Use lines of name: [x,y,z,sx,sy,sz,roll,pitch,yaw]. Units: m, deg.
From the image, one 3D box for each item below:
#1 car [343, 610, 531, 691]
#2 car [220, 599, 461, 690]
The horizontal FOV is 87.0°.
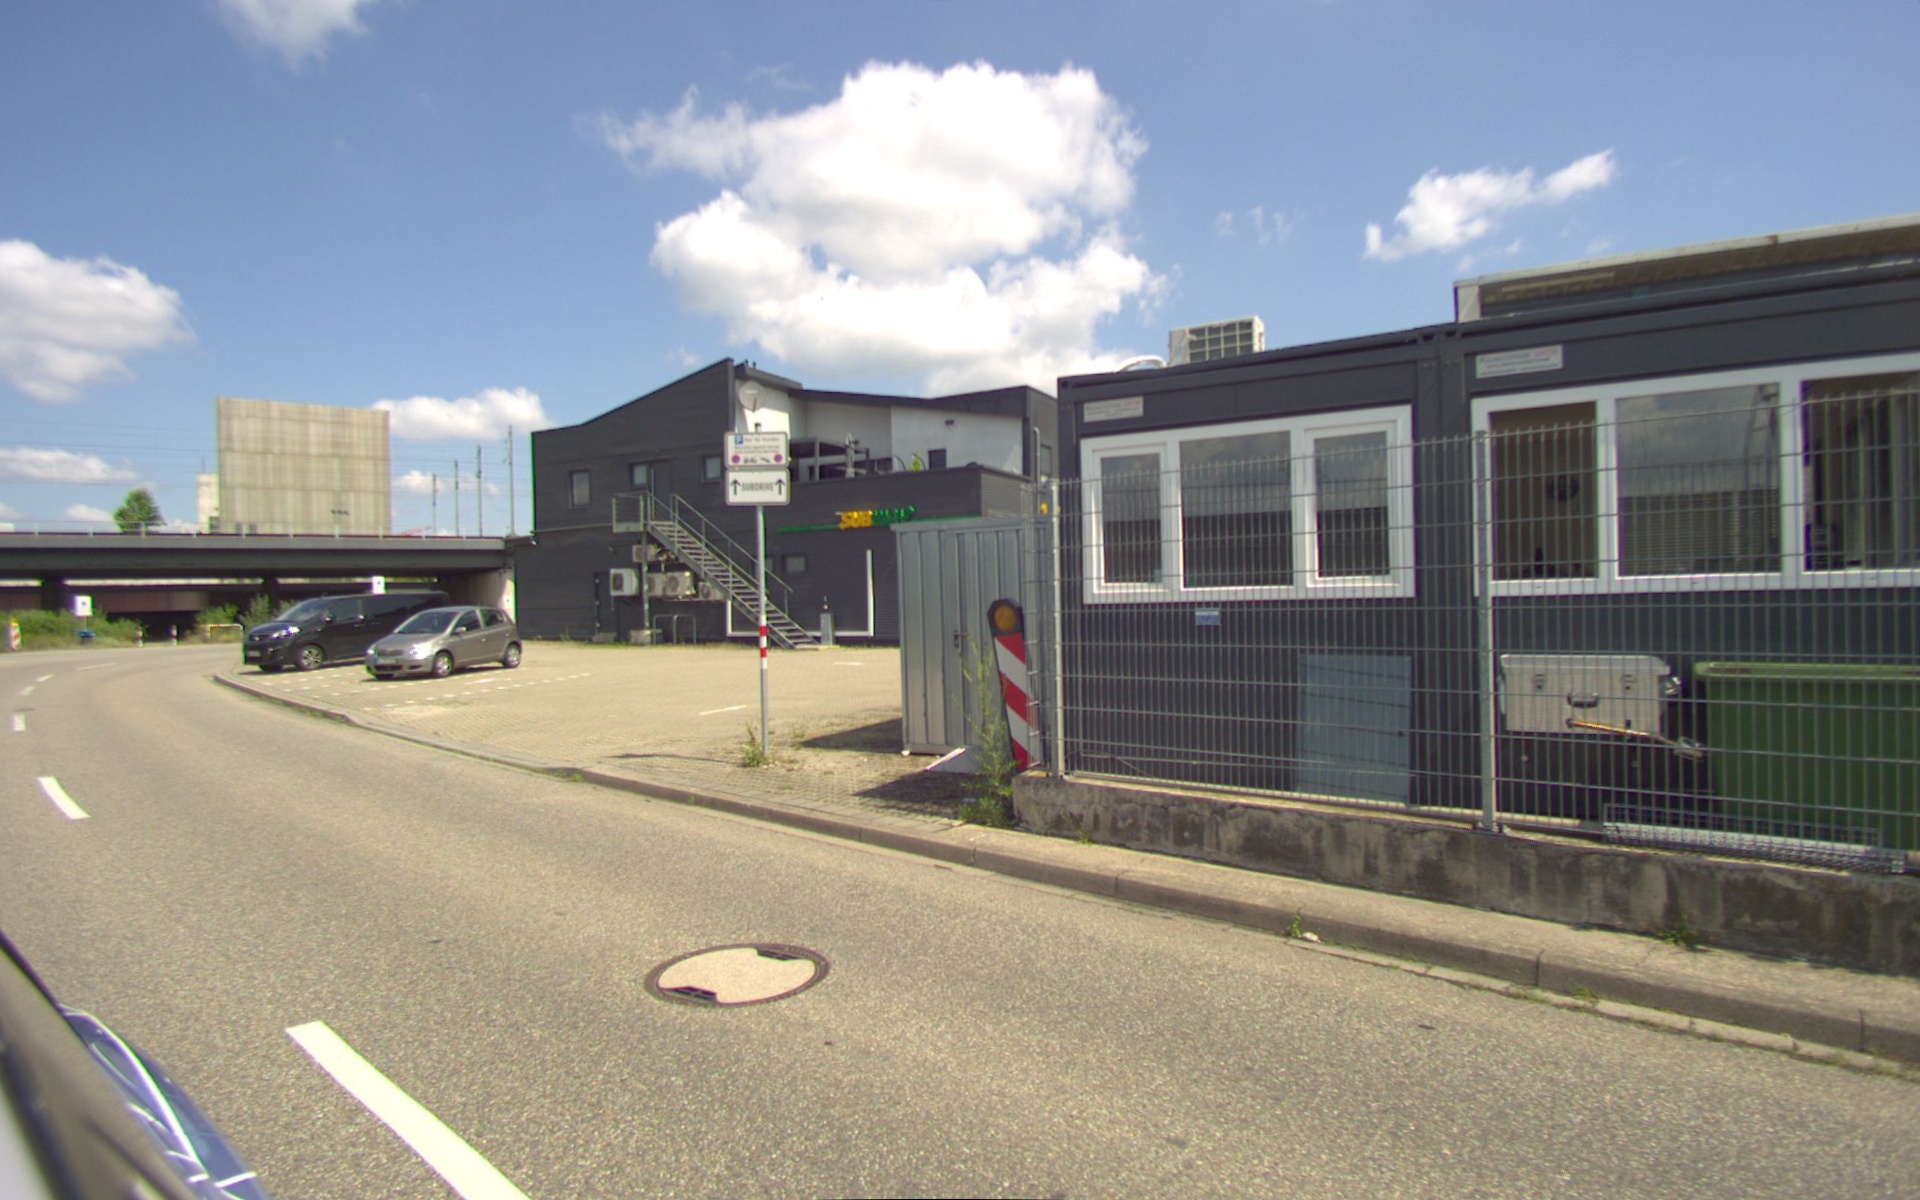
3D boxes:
car: [-11.493,1.062,22.523,1.778,1.487,3.683,-2,1,11]
car: [-16.556,1.099,27.422,1.989,1.930,5.297,-1,3,26]
